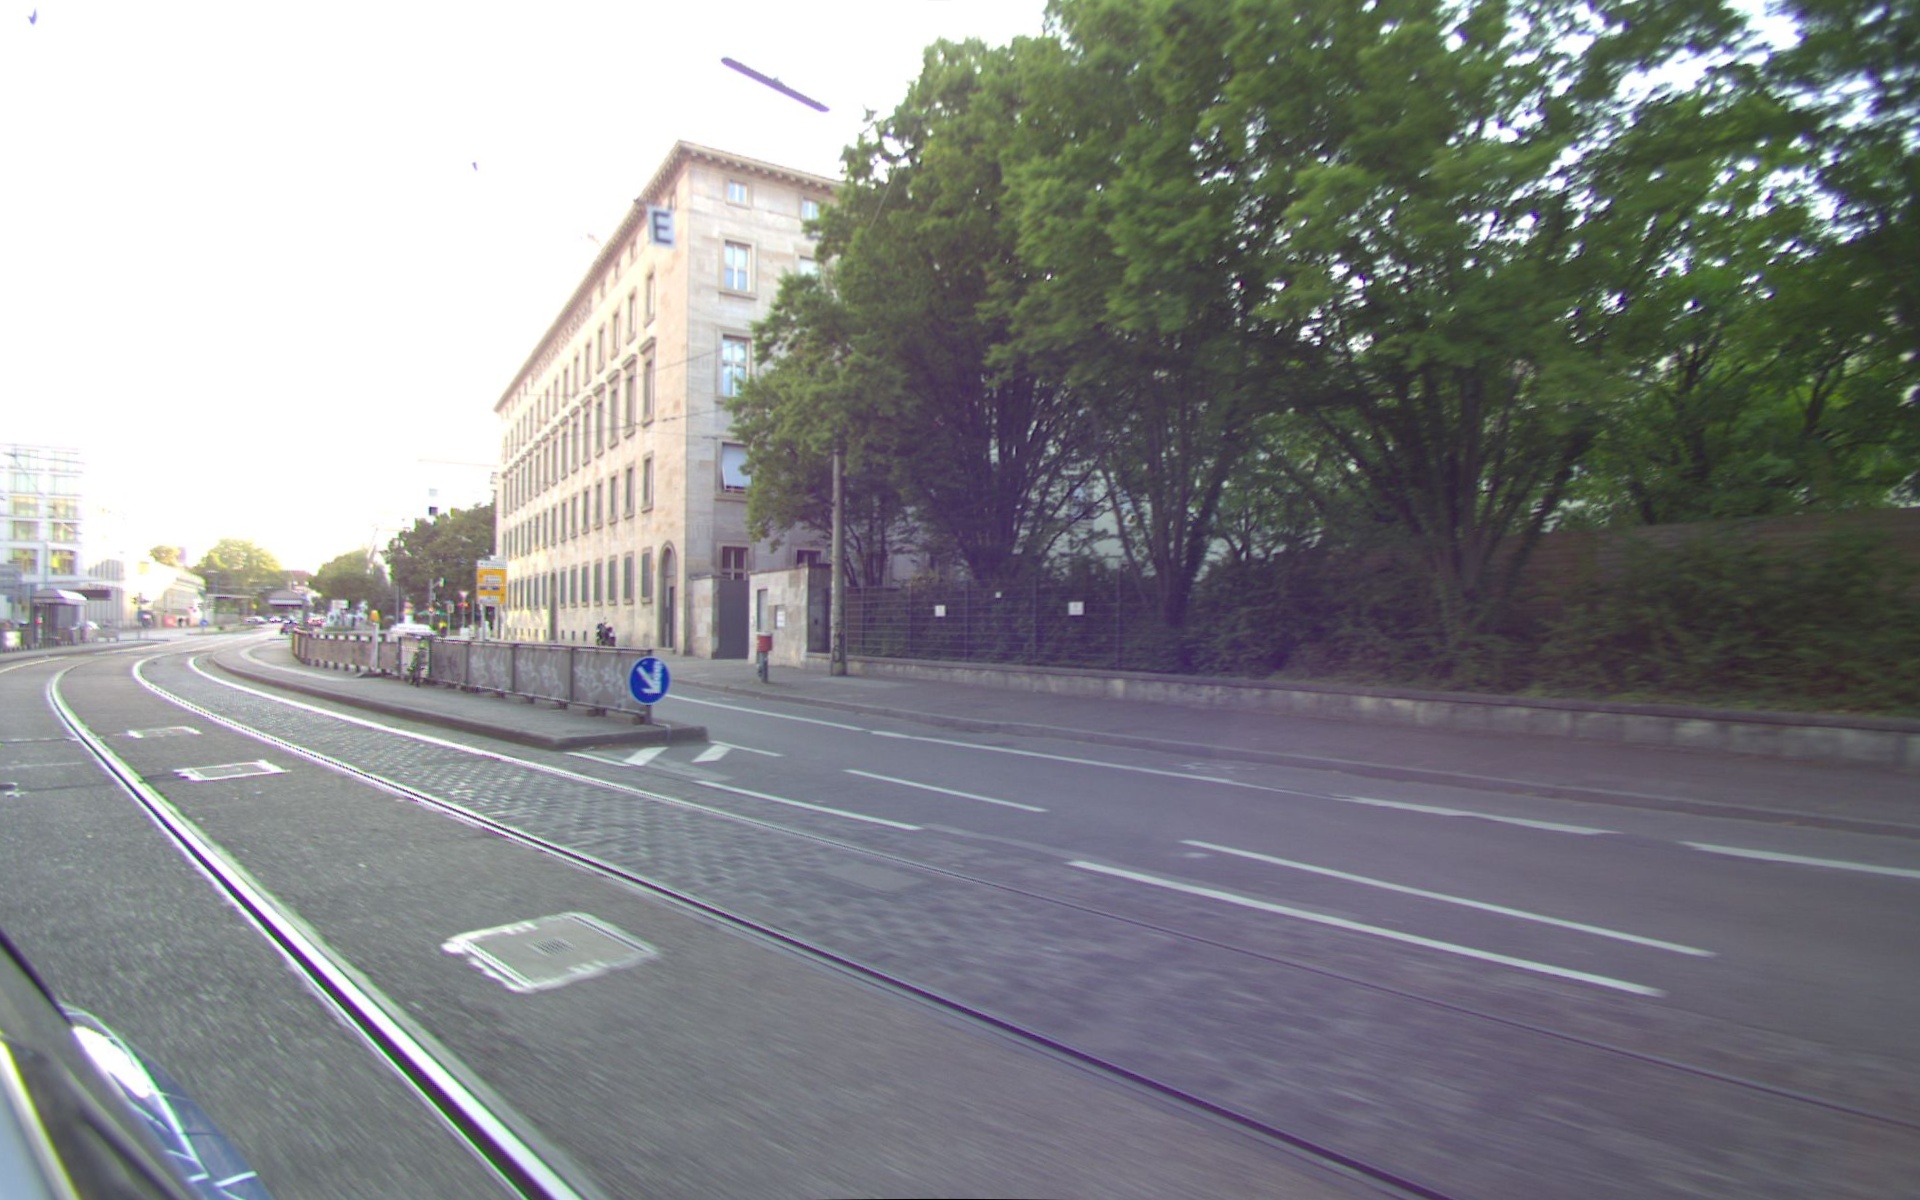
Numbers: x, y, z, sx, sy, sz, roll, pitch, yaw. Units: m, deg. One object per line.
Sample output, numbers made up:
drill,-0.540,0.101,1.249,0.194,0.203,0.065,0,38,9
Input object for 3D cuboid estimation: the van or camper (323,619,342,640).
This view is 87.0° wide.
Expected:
van or camper,-88.223,4.159,142.260,2.076,2.702,4.724,0,-4,-30

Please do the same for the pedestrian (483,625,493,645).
pedestrian,-40.401,3.008,86.634,0.686,1.723,0.648,1,-2,-29

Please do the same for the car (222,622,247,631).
car,-139.609,5.112,194.697,3.745,1.661,1.869,1,-2,-32

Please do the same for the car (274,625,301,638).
car,-71.959,3.359,108.337,1.669,1.431,4.187,1,-2,-24

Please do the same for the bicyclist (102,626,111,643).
bicyclist,-85.869,3.477,101.835,0.532,1.648,0.599,1,-2,-31

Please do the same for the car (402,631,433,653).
car,-37.096,2.834,69.144,1.620,1.438,3.715,2,-3,-32

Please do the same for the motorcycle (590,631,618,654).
motorcycle,-17.005,2.012,48.259,0.688,1.083,2.661,1,-2,-32

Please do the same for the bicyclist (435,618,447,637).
bicyclist,-38.545,2.044,75.107,0.745,1.452,0.599,1,-2,-31

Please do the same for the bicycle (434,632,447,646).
bicycle,-38.434,2.868,74.859,0.731,1.025,1.766,1,-2,-31

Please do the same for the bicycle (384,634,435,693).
bicycle,-10.870,1.224,19.940,0.456,1.083,2.025,2,-2,-41

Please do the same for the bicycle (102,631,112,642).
bicycle,-85.939,3.678,101.960,0.531,1.059,1.766,1,-2,-31

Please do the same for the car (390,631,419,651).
car,-40.912,2.989,74.506,1.620,1.438,4.244,3,-3,-32
